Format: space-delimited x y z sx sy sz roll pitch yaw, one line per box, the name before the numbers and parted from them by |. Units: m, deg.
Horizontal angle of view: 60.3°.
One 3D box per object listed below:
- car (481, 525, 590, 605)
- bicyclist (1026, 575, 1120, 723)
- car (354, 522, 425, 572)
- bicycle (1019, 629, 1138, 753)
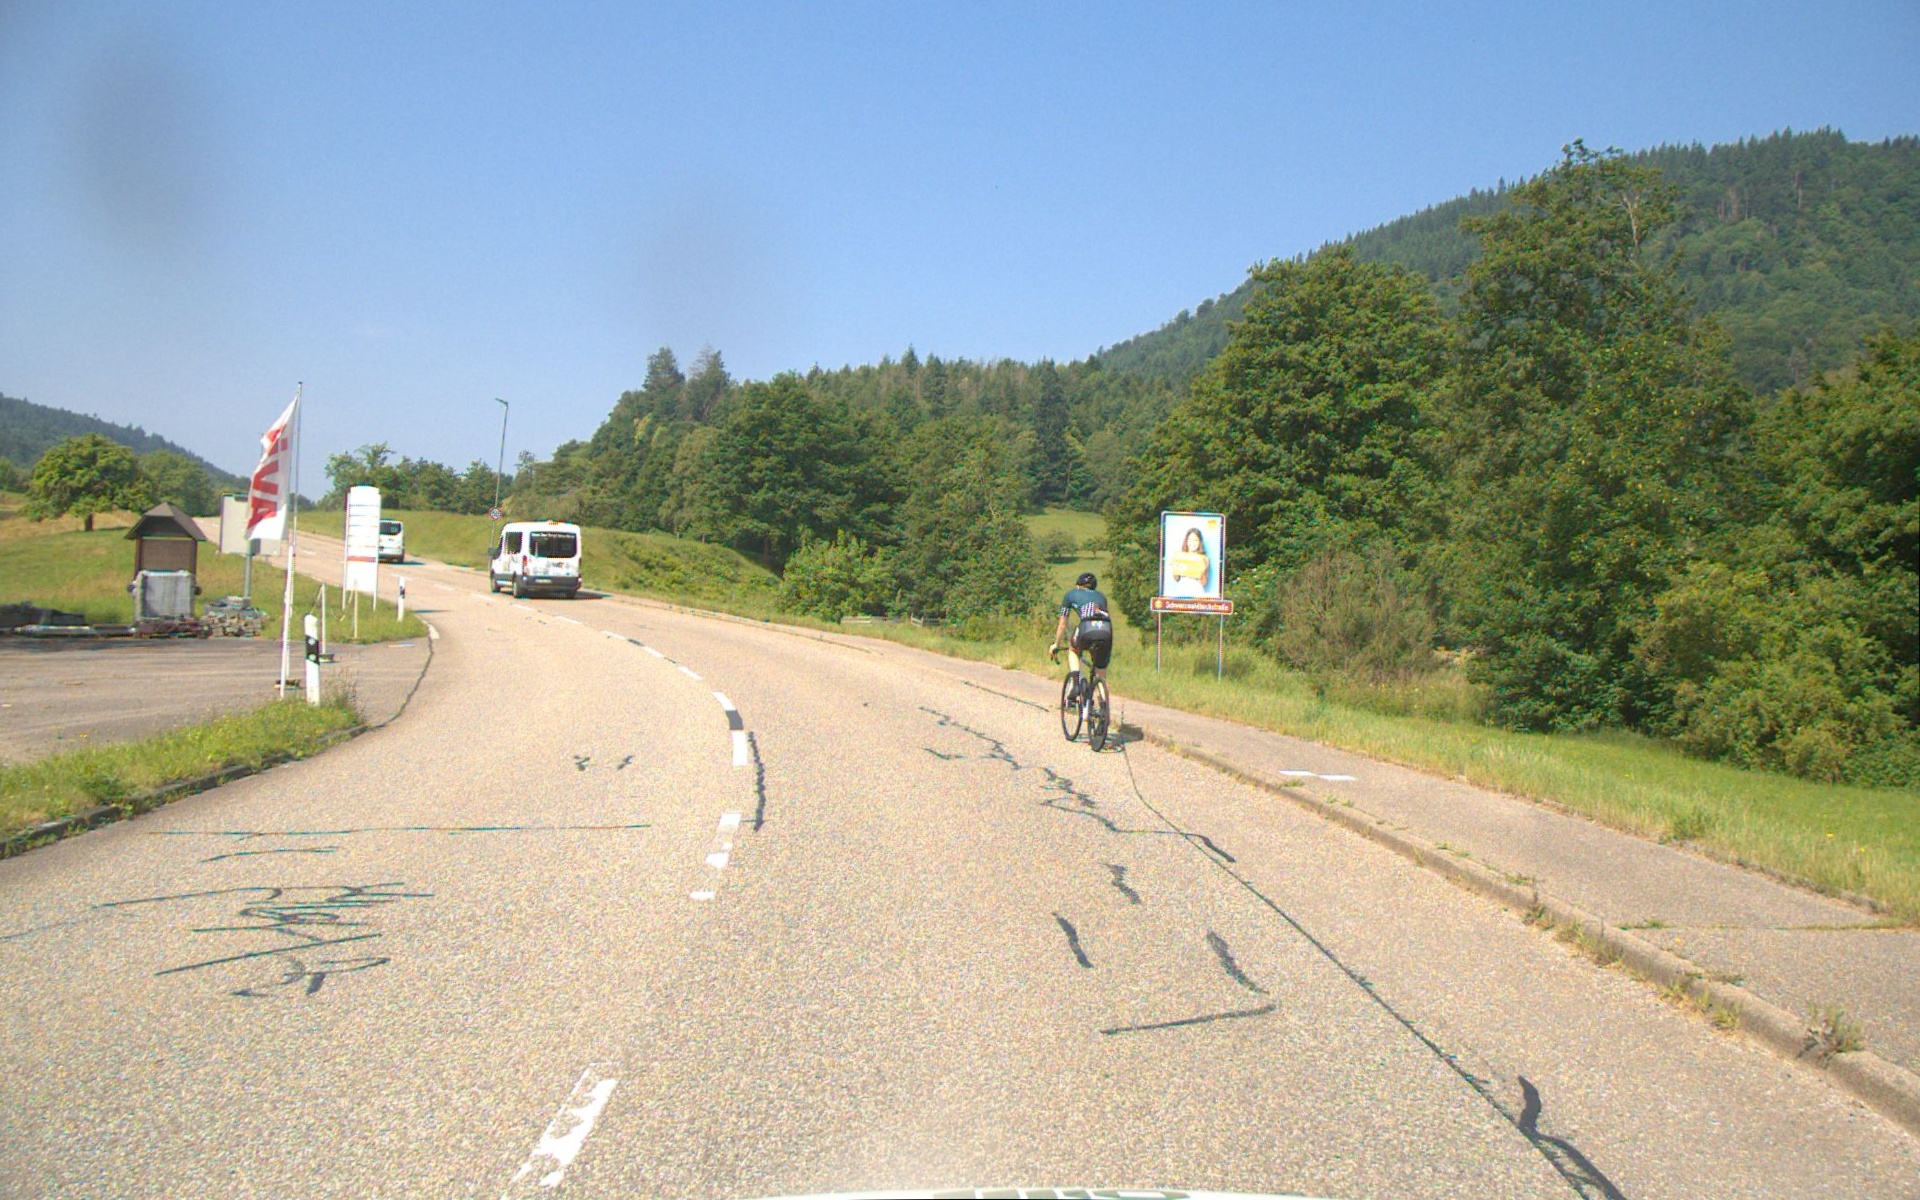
car | -14.306 -1.222 55.536 2.200 2.569 4.932 -2 2 -31
bicyclist | 1.086 0.446 16.060 0.570 1.366 1.141 -1 1 -14
car | -27.538 -2.586 79.757 2.202 2.326 4.930 -2 2 -32
bicycle | 1.132 0.855 16.254 0.570 1.053 1.983 -1 1 -14
